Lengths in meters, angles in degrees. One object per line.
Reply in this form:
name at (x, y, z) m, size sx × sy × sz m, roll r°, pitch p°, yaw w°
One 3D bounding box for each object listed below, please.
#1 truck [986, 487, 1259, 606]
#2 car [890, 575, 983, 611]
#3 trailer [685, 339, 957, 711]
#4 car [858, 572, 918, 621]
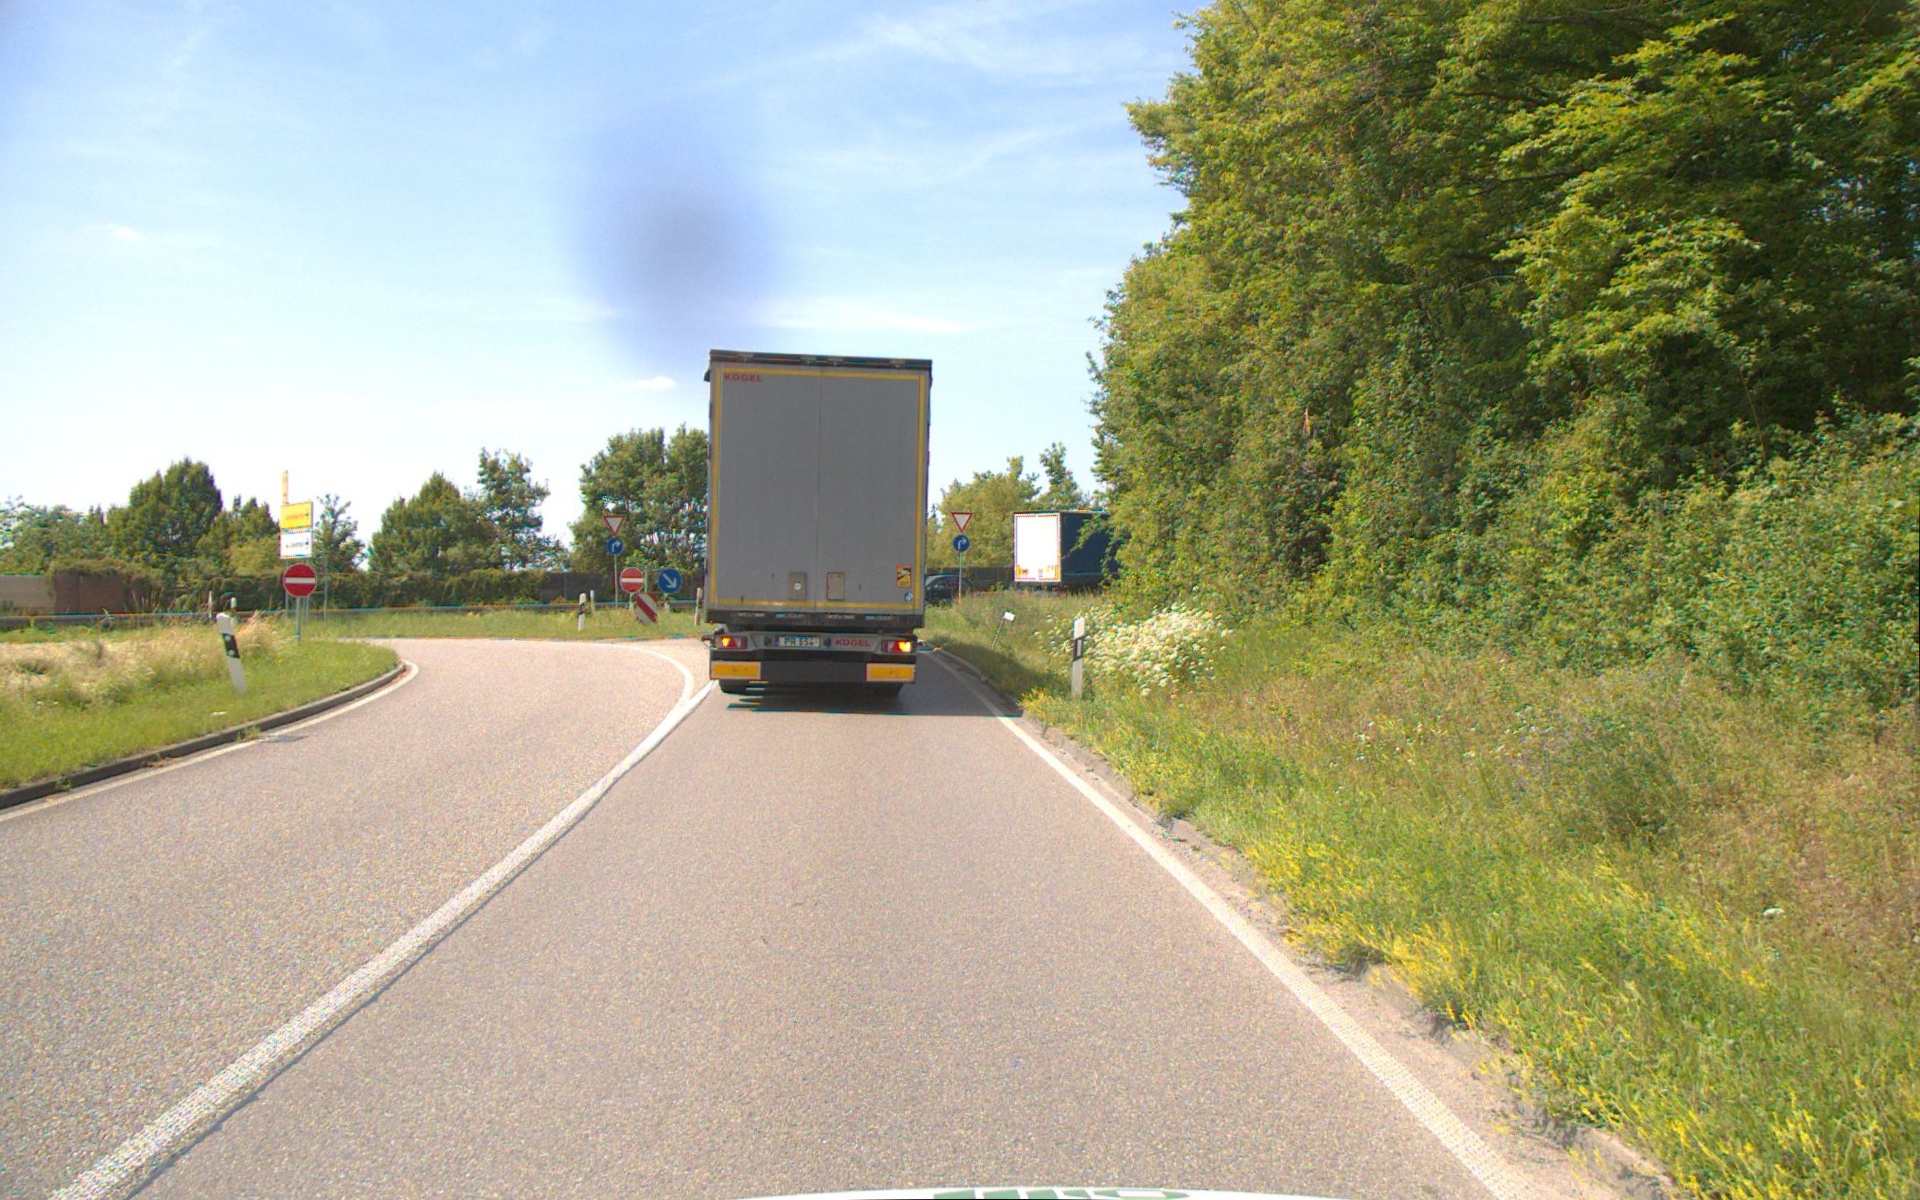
truck at (7.739, -2.321, 74.788) m, size 3.770 × 4.827 × 16.115 m, roll -1°, pitch 0°, yaw 40°
car at (-1.069, -0.342, 76.178) m, size 4.064 × 1.565 × 1.732 m, roll -1°, pitch 1°, yaw -38°
trailer at (-2.025, -0.949, 25.215) m, size 2.967 × 4.105 × 13.342 m, roll 1°, pitch 1°, yaw -4°
car at (-2.295, -0.141, 53.630) m, size 1.631 × 1.512 × 4.001 m, roll -1°, pitch 1°, yaw 2°
